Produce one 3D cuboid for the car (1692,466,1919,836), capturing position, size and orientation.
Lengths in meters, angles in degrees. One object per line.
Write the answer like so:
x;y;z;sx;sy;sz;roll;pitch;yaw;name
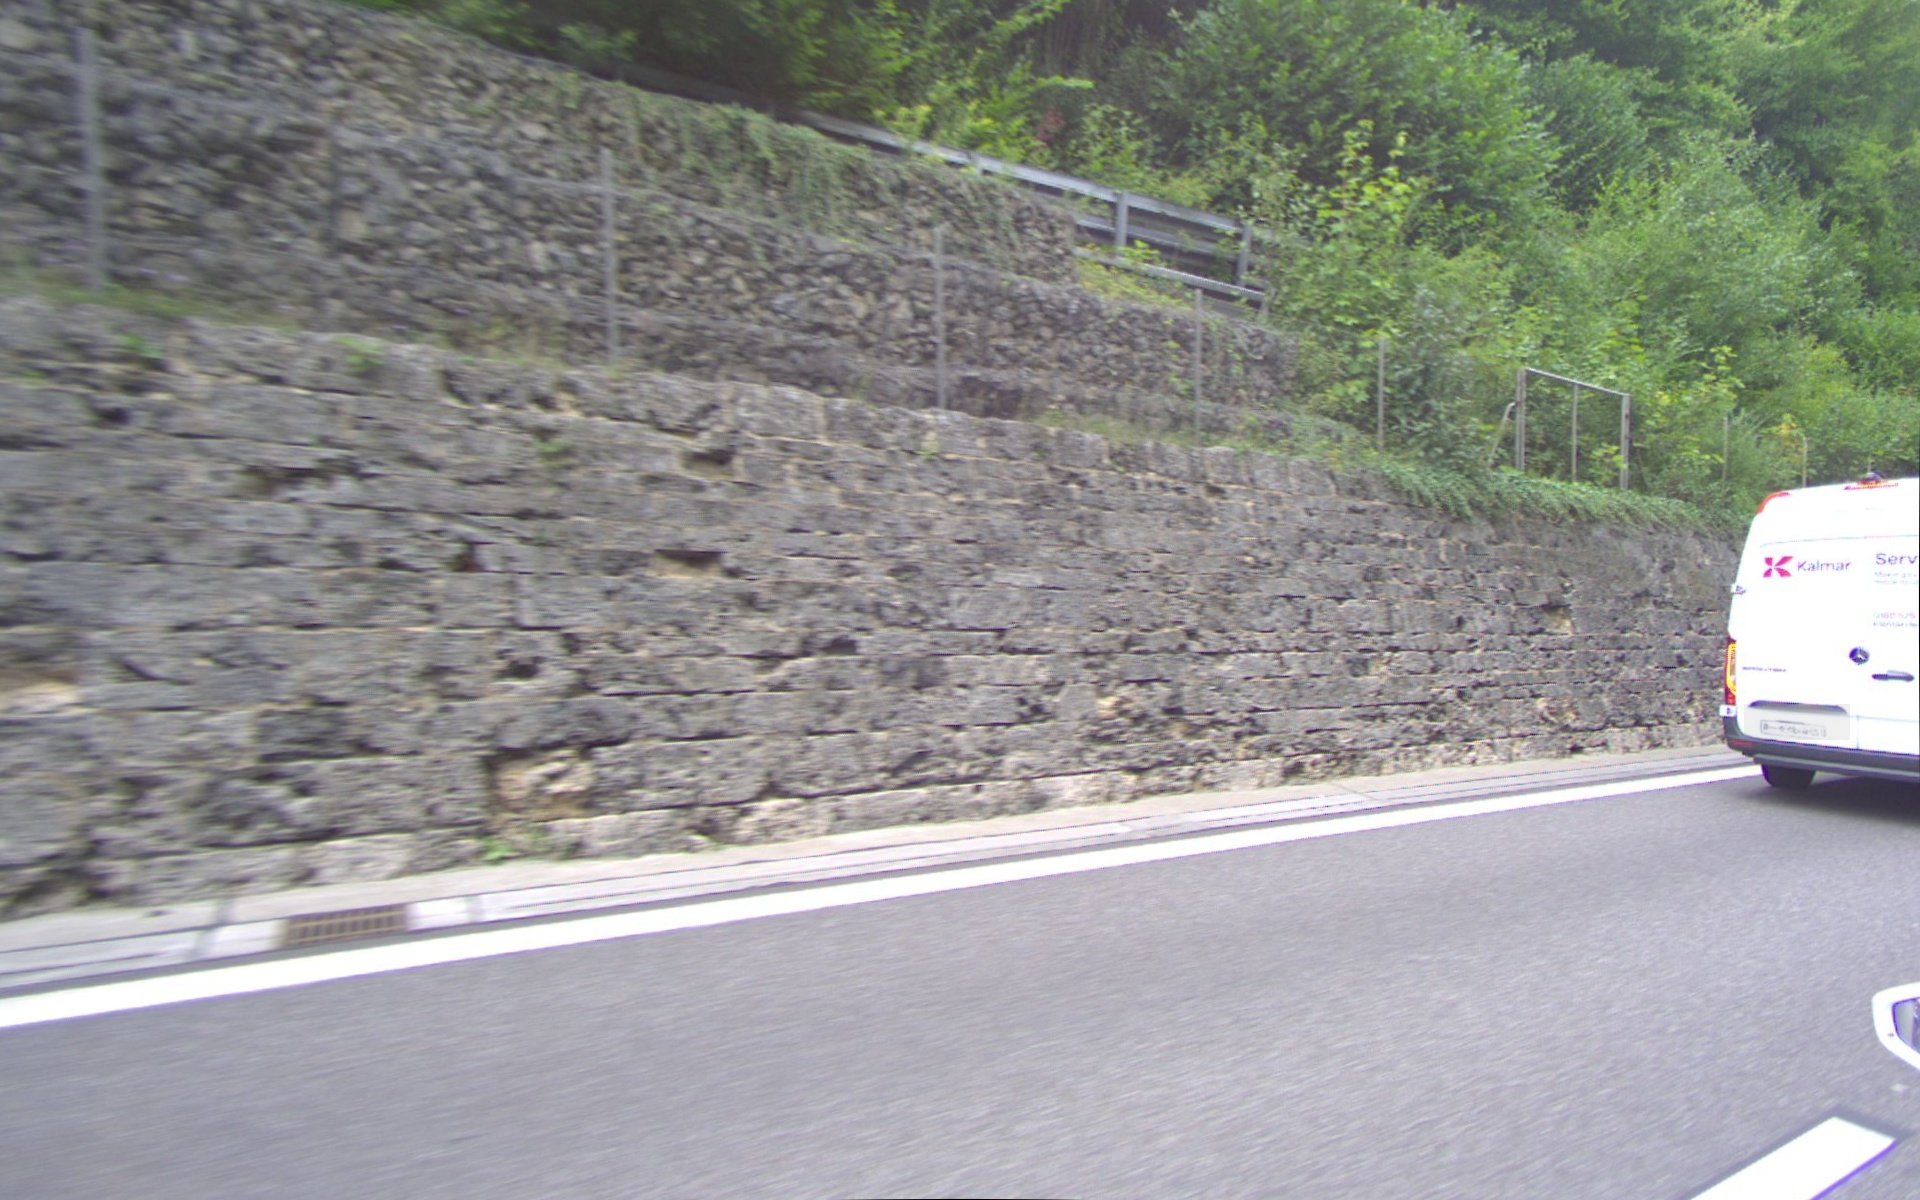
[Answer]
9.264;0.455;9.074;6.202;2.619;2.016;2;-1;-31;car
